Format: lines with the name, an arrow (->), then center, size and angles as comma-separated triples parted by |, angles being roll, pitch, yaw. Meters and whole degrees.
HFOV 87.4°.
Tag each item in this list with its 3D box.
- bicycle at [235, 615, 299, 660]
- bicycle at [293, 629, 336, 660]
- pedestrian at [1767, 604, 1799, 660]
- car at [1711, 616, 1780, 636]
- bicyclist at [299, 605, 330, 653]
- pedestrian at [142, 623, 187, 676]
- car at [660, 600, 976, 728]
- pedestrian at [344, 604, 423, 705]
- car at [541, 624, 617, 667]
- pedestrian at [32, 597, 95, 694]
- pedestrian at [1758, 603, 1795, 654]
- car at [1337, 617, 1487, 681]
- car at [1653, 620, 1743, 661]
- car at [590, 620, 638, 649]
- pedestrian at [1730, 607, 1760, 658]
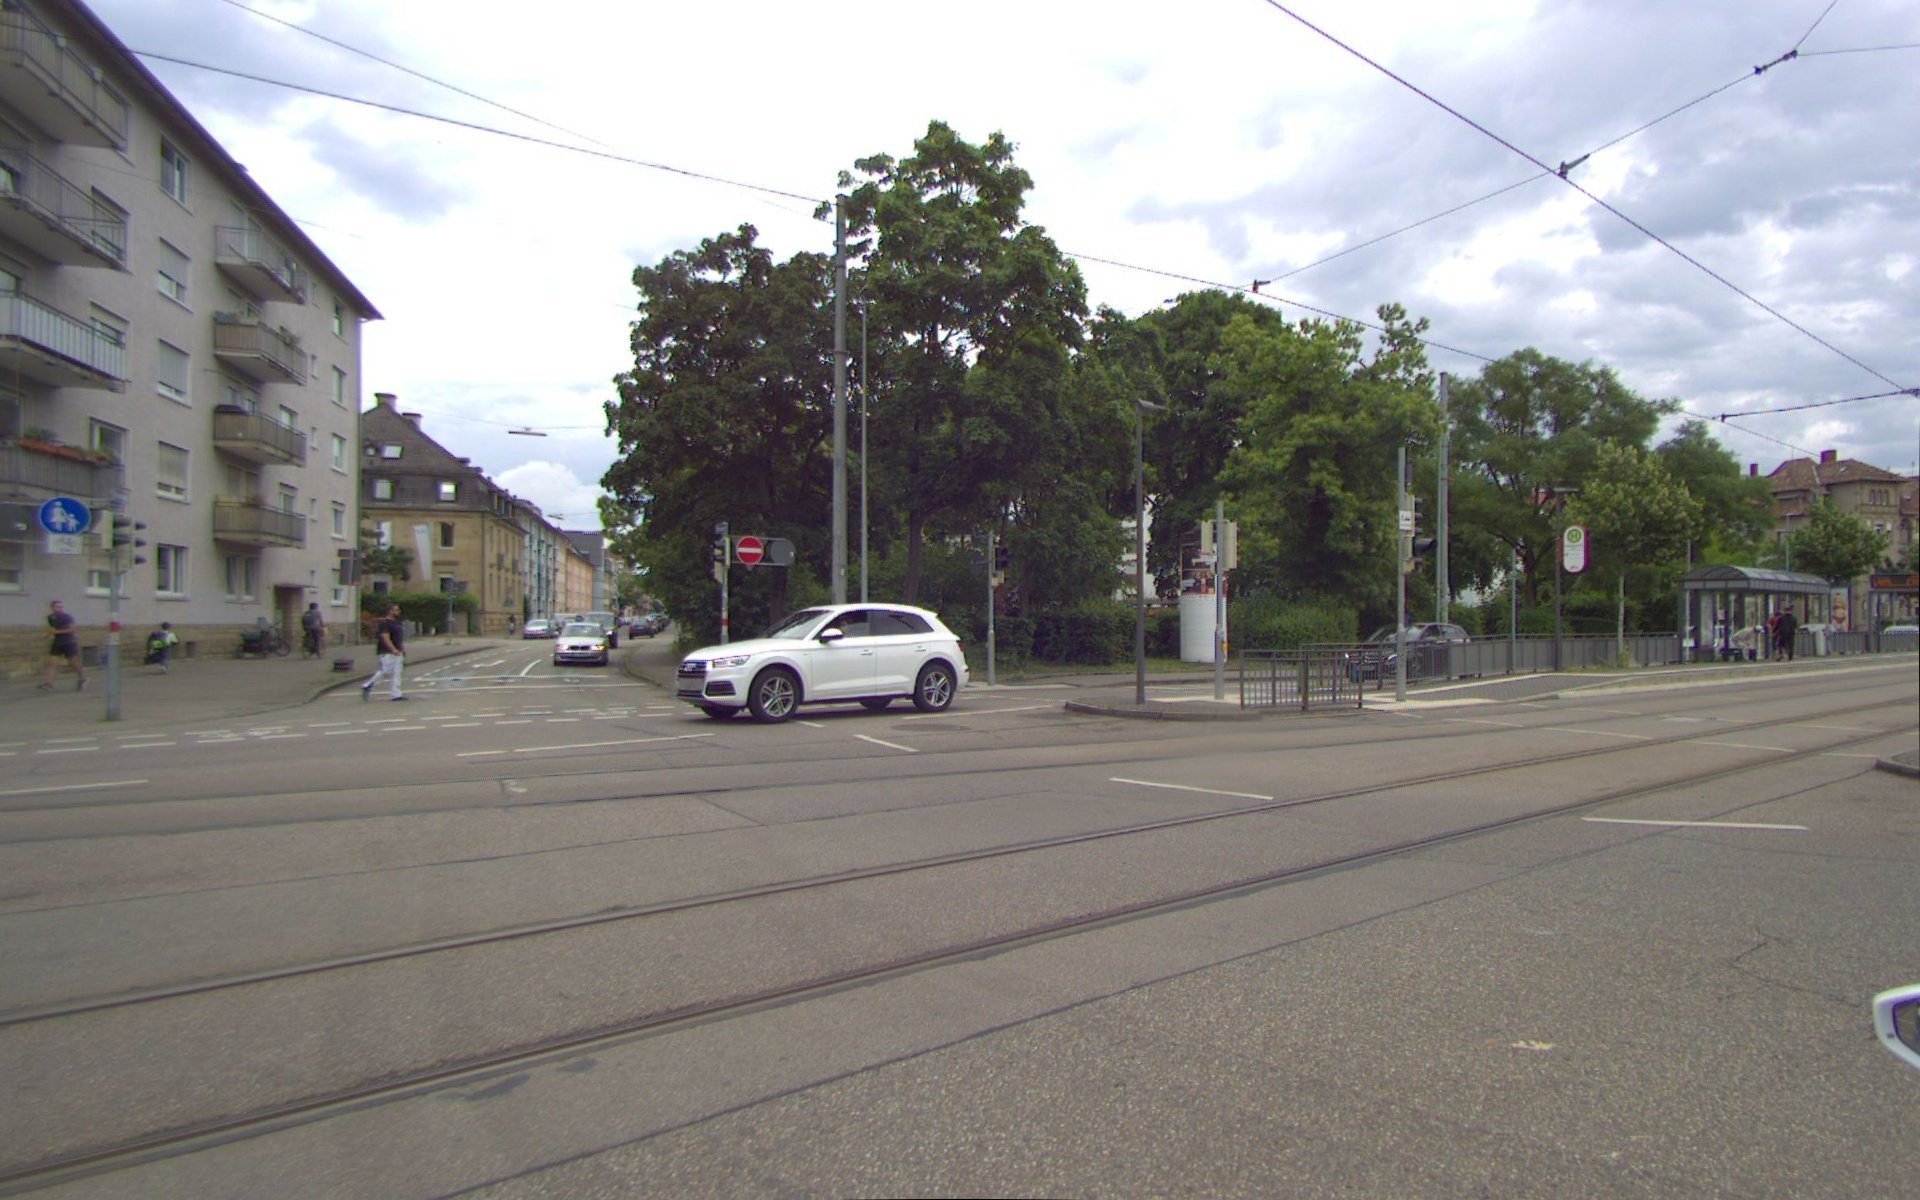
bicycle -> -23.845, 1.280, 34.639 | 0.868, 1.485, 2.887 | 0, -1, -15
bicycle -> -21.945, 1.507, 34.170 | 0.645, 1.016, 1.960 | 0, -1, -15
pedestrian -> 25.901, 0.997, 31.597 | 0.694, 1.738, 0.693 | 1, -1, -44
car -> 59.611, 1.956, 76.294 | 1.758, 1.513, 3.848 | 1, -1, -35
bicyclist -> -21.926, 0.983, 34.119 | 0.647, 1.585, 0.858 | 0, -1, -15
pedestrian -> -20.086, 1.232, 25.388 | 0.680, 1.305, 0.728 | 0, -1, -20
car -> -2.026, 0.876, 15.164 | 4.499, 1.661, 1.756 | 1, -1, -40
pedestrian -> -11.096, 1.035, 19.359 | 1.025, 1.899, 0.836 | 0, -1, 0
car -> -13.170, 1.537, 34.951 | 1.966, 1.372, 4.026 | 0, -1, -14
pedestrian -> -17.380, 0.872, 19.492 | 0.673, 1.837, 0.719 | 0, -1, -20
pedestrian -> 27.720, 0.966, 34.112 | 1.016, 1.682, 0.762 | 1, -1, -39
car -> 11.717, 1.206, 25.915 | 4.500, 1.513, 1.755 | 1, -1, -40
car -> 28.572, 1.536, 38.859 | 3.850, 1.513, 1.758 | 1, -1, -36
car -> -17.308, 1.697, 50.408 | 1.967, 1.372, 4.024 | 0, -1, -15
pedestrian -> 25.407, 1.042, 32.513 | 0.675, 1.645, 0.626 | 1, -1, -41
